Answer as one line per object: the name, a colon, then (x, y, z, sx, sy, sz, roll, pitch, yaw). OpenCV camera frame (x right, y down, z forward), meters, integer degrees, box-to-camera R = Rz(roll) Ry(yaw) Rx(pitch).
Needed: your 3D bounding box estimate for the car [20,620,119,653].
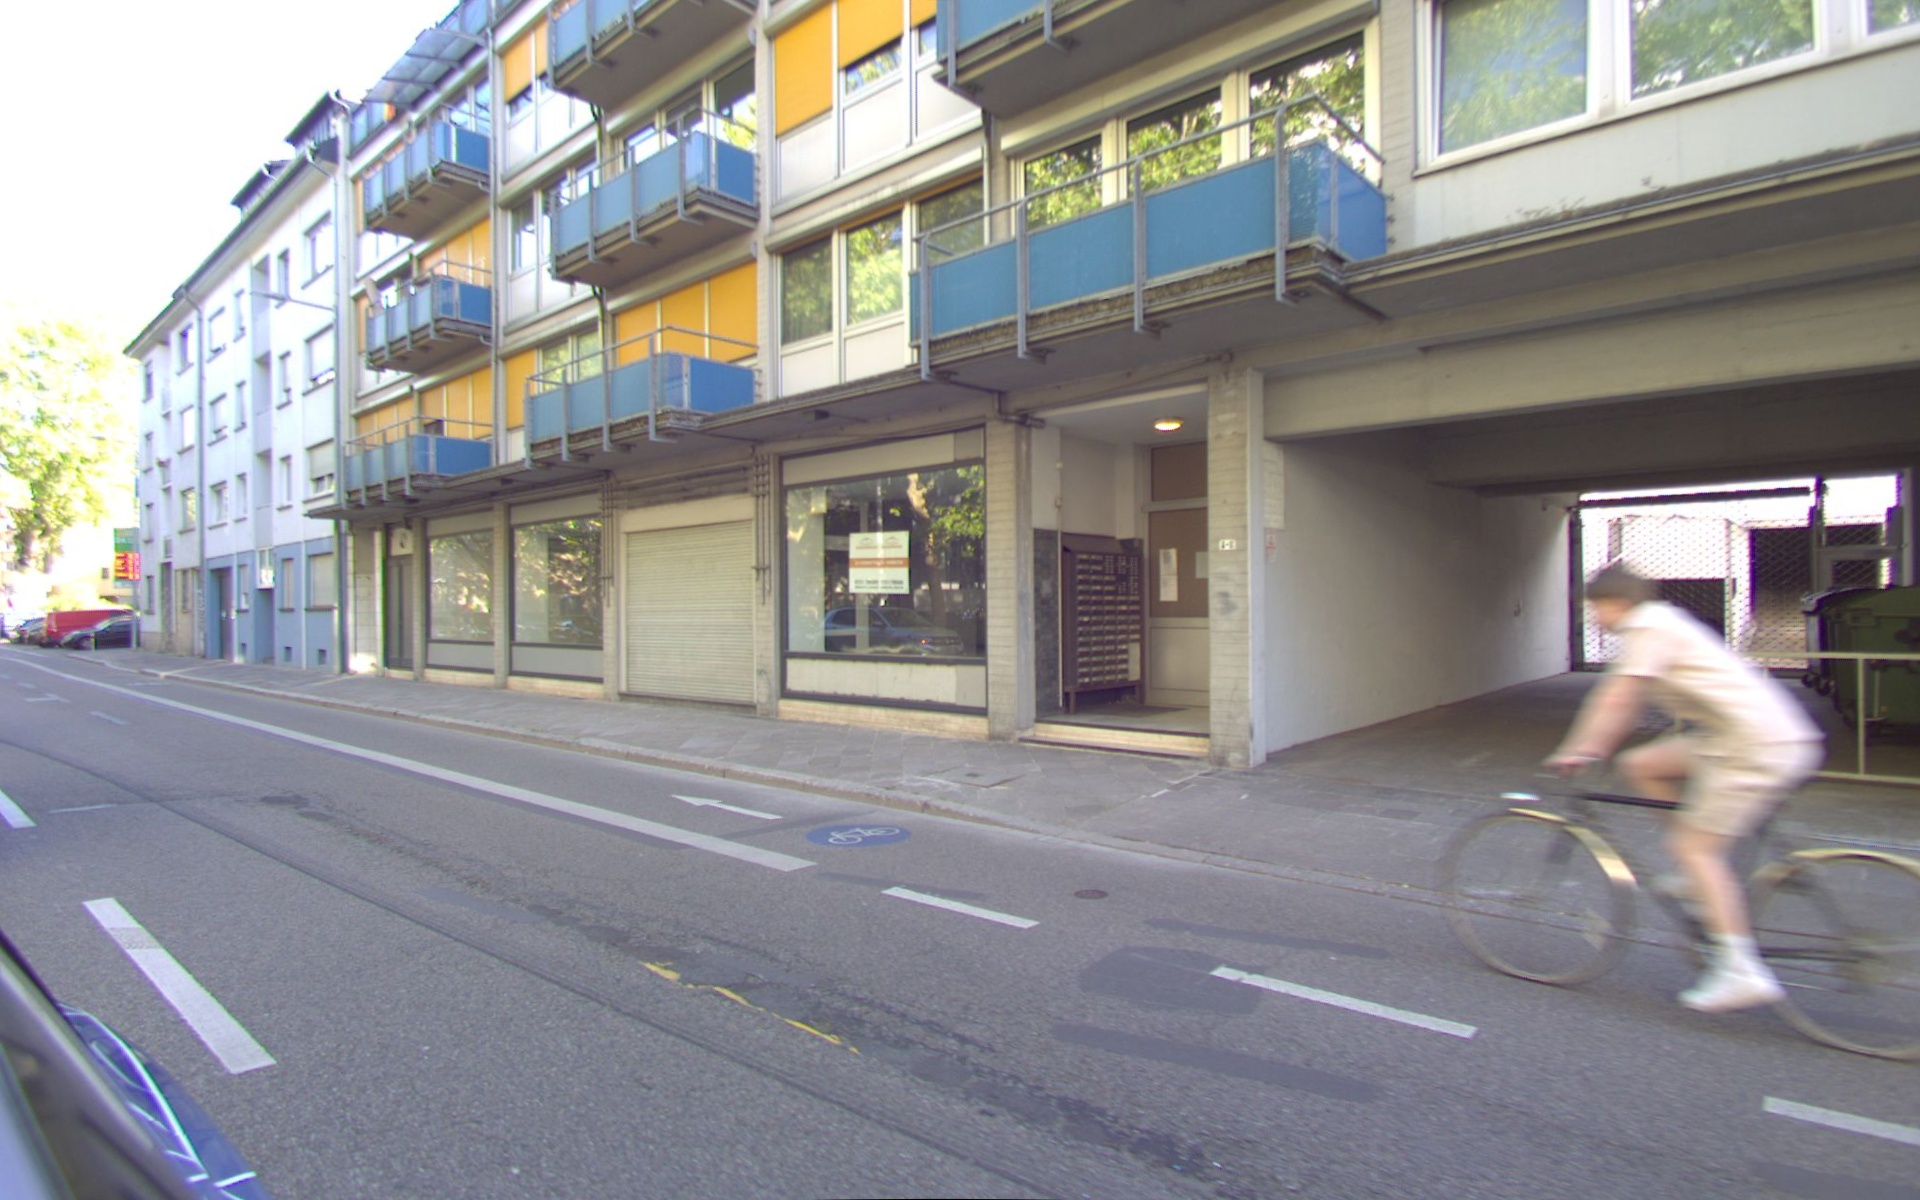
car: (-48.106, 1.942, 54.722, 1.604, 1.598, 3.854, -1, 0, 43)

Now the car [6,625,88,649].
car: (-59.066, 2.389, 65.501, 1.526, 1.343, 3.854, -1, 0, 43)

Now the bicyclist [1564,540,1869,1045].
bicyclist: (2.725, 0.599, 3.661, 0.806, 1.570, 0.641, -1, 0, 41)

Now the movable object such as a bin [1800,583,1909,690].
movable object such as a bin: (13.159, 0.507, 14.891, 1.143, 1.476, 1.121, -1, 0, 44)

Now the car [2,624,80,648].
car: (-61.067, 2.383, 67.291, 1.539, 1.451, 3.732, -1, 0, 43)

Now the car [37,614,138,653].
car: (-45.784, 1.719, 53.144, 1.749, 1.921, 3.853, -2, -1, 43)

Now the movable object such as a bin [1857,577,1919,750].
movable object such as a bin: (8.749, 0.532, 8.965, 1.143, 1.476, 1.246, -1, 0, 44)

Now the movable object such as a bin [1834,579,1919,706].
movable object such as a bin: (11.673, 0.494, 12.479, 1.281, 1.506, 1.146, -1, 0, 44)

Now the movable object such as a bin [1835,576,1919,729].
movable object such as a bin: (9.737, 0.510, 10.225, 1.281, 1.484, 1.256, -1, -1, 44)

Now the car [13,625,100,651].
car: (-55.299, 2.295, 61.998, 1.595, 1.385, 3.854, -1, 0, 43)

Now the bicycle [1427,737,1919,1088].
bicycle: (2.752, 1.048, 3.636, 1.867, 0.898, 0.542, -1, 0, 42)

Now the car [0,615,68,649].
car: (-64.522, 2.172, 70.178, 1.725, 2.193, 3.854, -1, 0, 43)

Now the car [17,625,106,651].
car: (-53.807, 2.271, 60.634, 1.595, 1.385, 3.854, -1, 0, 43)

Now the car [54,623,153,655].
car: (-41.929, 1.890, 49.567, 1.534, 1.420, 3.550, -2, -1, 43)

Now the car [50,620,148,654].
car: (-43.620, 1.848, 51.291, 1.602, 1.521, 3.619, -1, 0, 43)

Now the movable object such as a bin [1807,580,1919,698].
movable object such as a bin: (12.279, 0.494, 13.611, 1.281, 1.497, 1.146, -1, 0, 44)

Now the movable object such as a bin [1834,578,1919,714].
movable object such as a bin: (10.886, 0.497, 11.570, 1.281, 1.497, 1.146, -1, 0, 44)
